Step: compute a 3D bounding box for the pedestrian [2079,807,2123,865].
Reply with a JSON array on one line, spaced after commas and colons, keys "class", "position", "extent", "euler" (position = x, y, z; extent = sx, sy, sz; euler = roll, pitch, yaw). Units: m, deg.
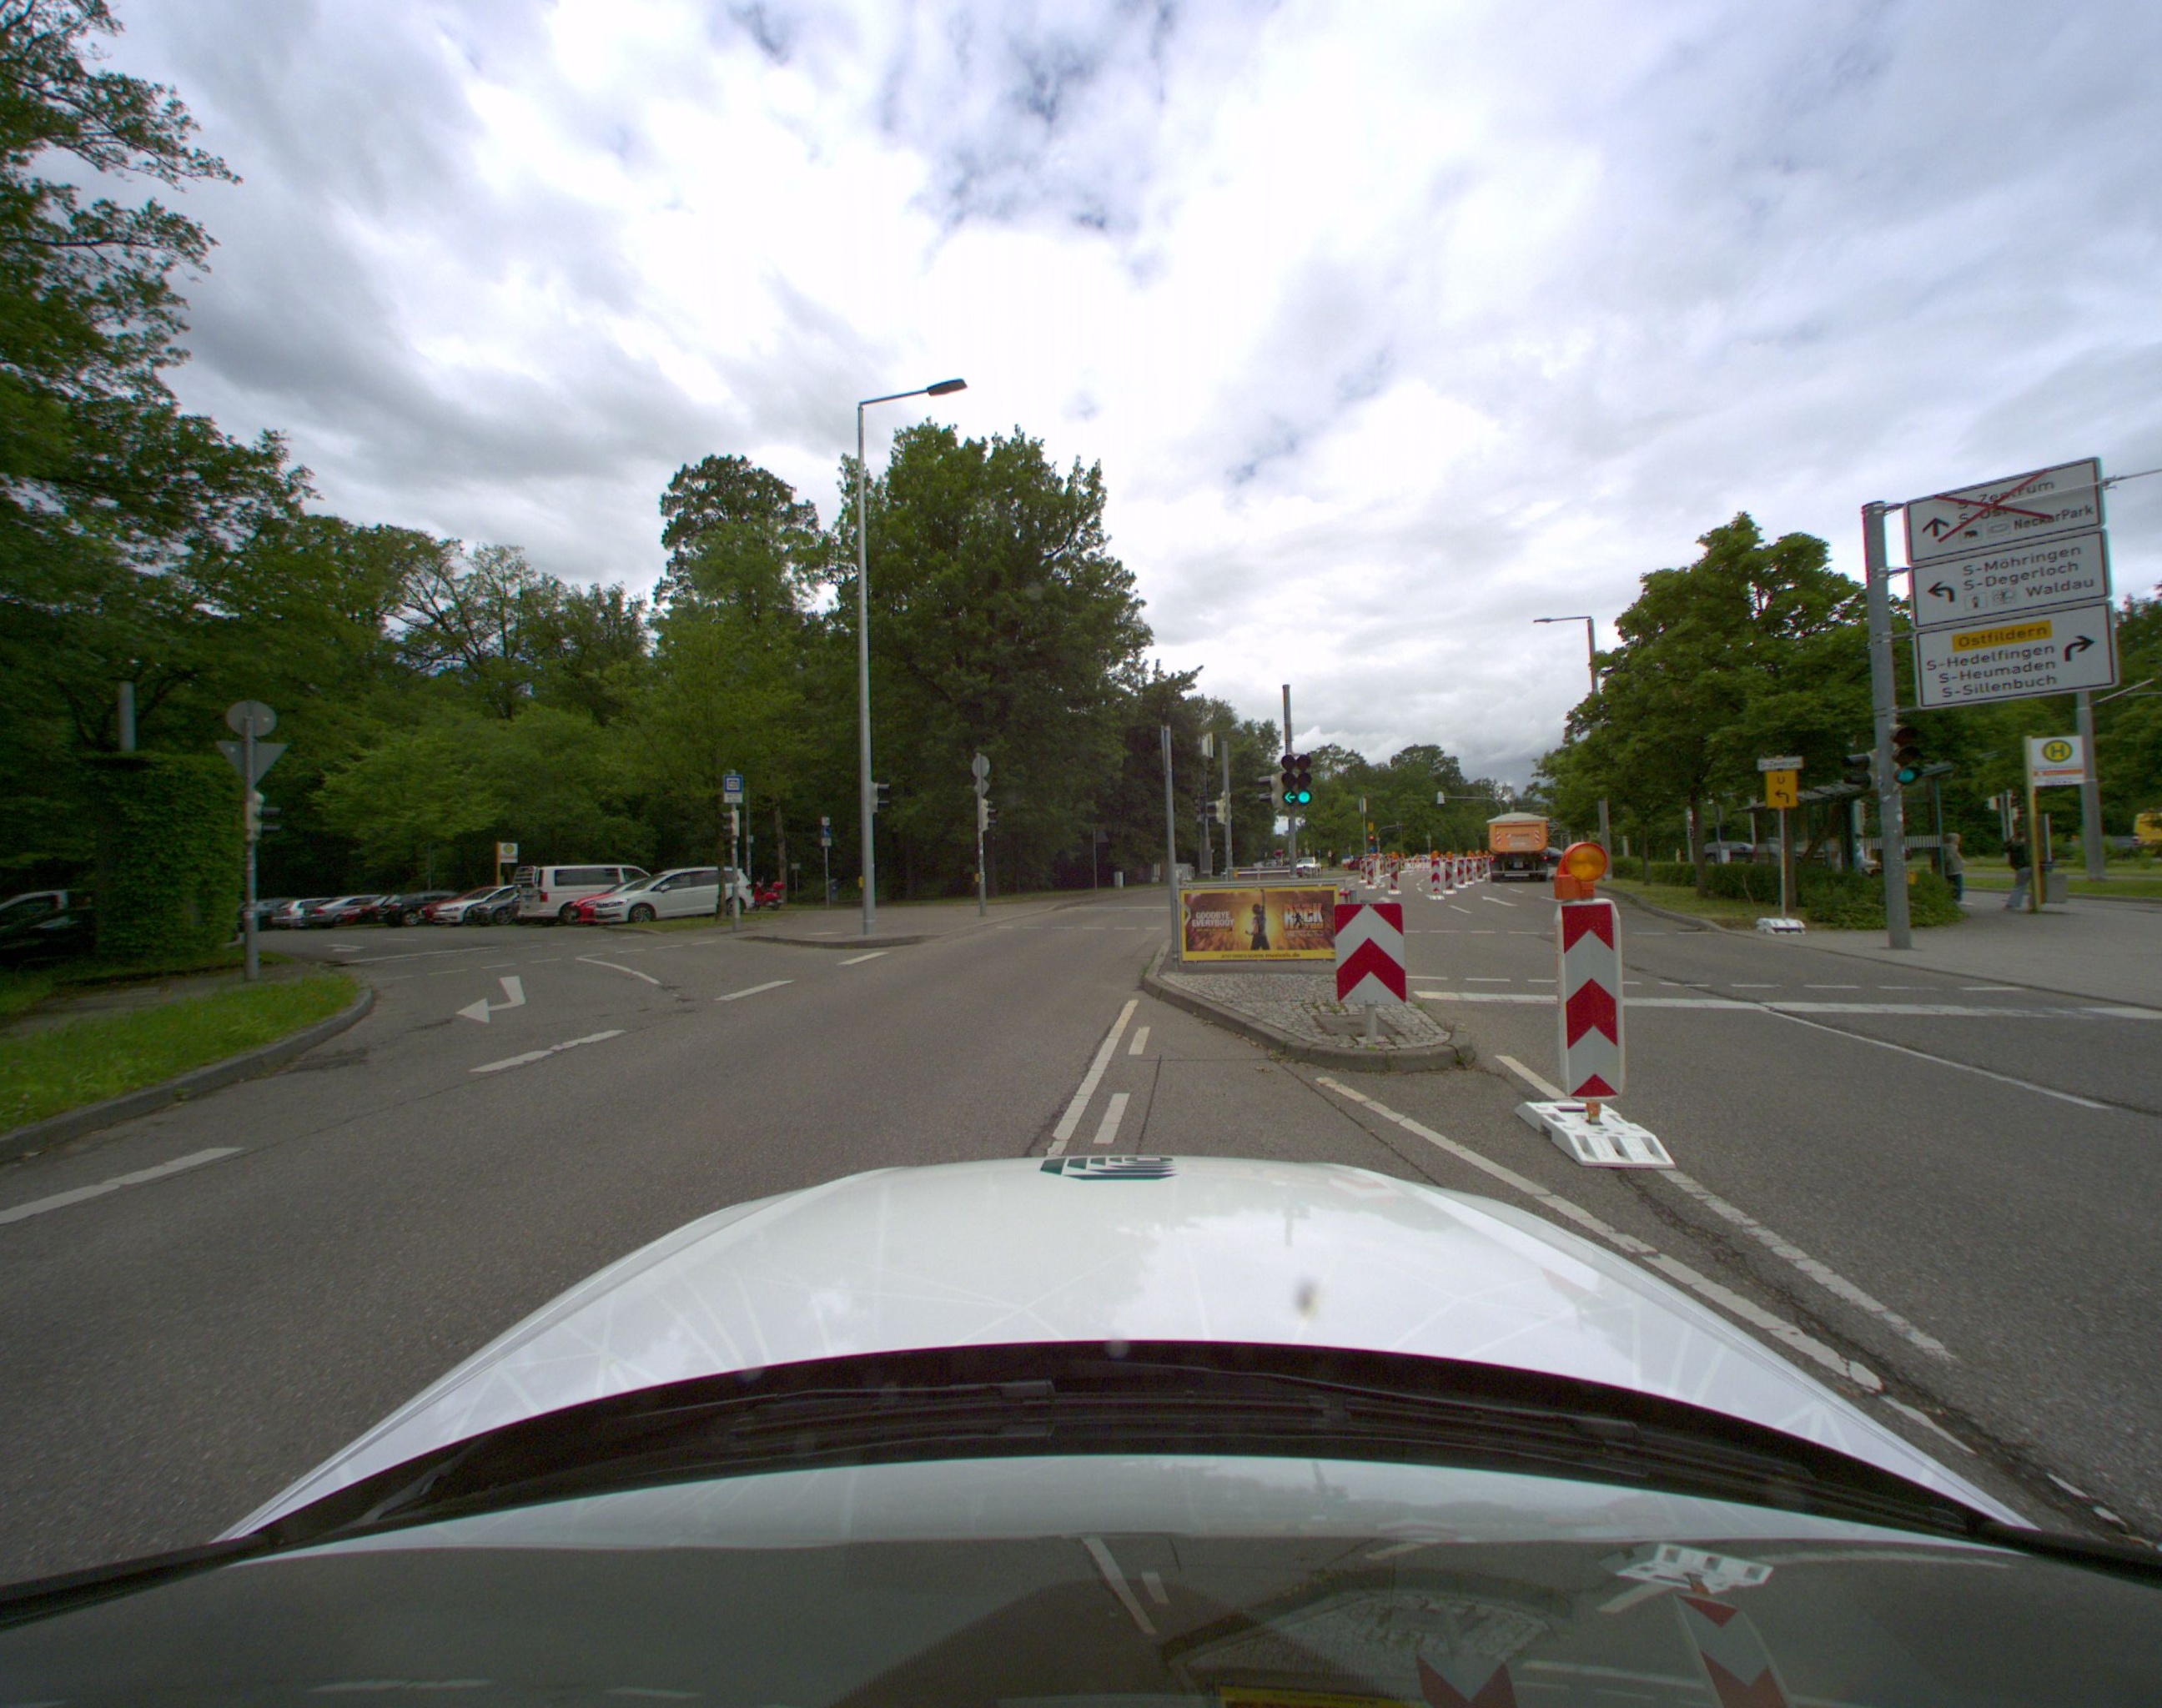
[{"class": "pedestrian", "position": [41.051, -0.716, 32.780], "extent": [0.614, 2.295, 0.860], "euler": [0, -1, -6]}]

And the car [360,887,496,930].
[{"class": "car", "position": [-27.528, 2.265, 34.438], "extent": [1.897, 1.483, 4.025], "euler": [-4, -1, 31]}]

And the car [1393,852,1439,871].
[{"class": "car", "position": [34.476, 0.828, 83.941], "extent": [2.008, 1.882, 3.958], "euler": [0, -1, -34]}]

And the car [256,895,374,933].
[{"class": "car", "position": [-38.035, 2.960, 40.553], "extent": [1.709, 1.546, 3.877], "euler": [-4, -1, 25]}]

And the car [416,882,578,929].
[{"class": "car", "position": [-22.883, 1.979, 32.098], "extent": [1.829, 1.476, 4.818], "euler": [-3, -1, 34]}]

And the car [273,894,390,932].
[{"class": "car", "position": [-36.172, 2.833, 39.391], "extent": [1.729, 1.511, 3.736], "euler": [-4, -1, 27]}]

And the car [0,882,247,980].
[{"class": "car", "position": [-23.717, 1.804, 19.345], "extent": [1.952, 1.915, 5.136], "euler": [-4, 0, 35]}]

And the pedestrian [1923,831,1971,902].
[{"class": "pedestrian", "position": [18.969, 0.275, 17.845], "extent": [0.519, 1.517, 0.480], "euler": [0, -1, 5]}]

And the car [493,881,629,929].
[{"class": "car", "position": [-18.898, 1.790, 29.724], "extent": [1.822, 1.555, 3.758], "euler": [-1, -1, 32]}]

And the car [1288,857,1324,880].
[{"class": "car", "position": [18.410, 1.172, 66.409], "extent": [1.975, 1.750, 4.605], "euler": [-1, -1, 27]}]

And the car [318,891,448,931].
[{"class": "car", "position": [-31.729, 2.582, 37.131], "extent": [1.916, 1.449, 4.024], "euler": [-4, -1, 27]}]

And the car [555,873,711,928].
[{"class": "car", "position": [-14.572, 1.475, 26.626], "extent": [1.922, 1.555, 4.035], "euler": [-3, -2, 40]}]

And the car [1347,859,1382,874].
[{"class": "car", "position": [35.962, 1.593, 103.516], "extent": [2.003, 1.882, 3.968], "euler": [0, -1, -24]}]

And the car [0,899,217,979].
[{"class": "car", "position": [-21.489, 1.794, 17.336], "extent": [1.700, 1.379, 4.026], "euler": [-3, -1, 34]}]

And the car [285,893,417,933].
[{"class": "car", "position": [-34.142, 2.735, 38.202], "extent": [1.841, 1.461, 4.166], "euler": [-4, -1, 28]}]

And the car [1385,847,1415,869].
[{"class": "car", "position": [26.585, 0.378, 67.742], "extent": [1.779, 1.738, 3.725], "euler": [-1, -1, 29]}]

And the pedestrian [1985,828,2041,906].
[{"class": "pedestrian", "position": [18.625, 0.259, 16.276], "extent": [0.519, 1.517, 0.480], "euler": [0, -1, 5]}]

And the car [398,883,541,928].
[{"class": "car", "position": [-25.096, 2.093, 33.581], "extent": [1.894, 1.480, 4.269], "euler": [-4, -1, 31]}]

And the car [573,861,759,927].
[{"class": "car", "position": [-12.669, 1.202, 25.095], "extent": [2.137, 1.693, 4.564], "euler": [-4, -1, 39]}]

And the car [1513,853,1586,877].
[{"class": "car", "position": [40.331, 0.941, 70.271], "extent": [2.002, 2.014, 5.393], "euler": [0, -1, -23]}]

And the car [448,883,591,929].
[{"class": "car", "position": [-21.034, 1.937, 30.658], "extent": [1.853, 1.483, 4.025], "euler": [-5, -3, 32]}]

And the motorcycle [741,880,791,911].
[{"class": "motorcycle", "position": [-12.444, 1.645, 32.135], "extent": [1.986, 1.160, 0.681], "euler": [-2, -1, 27]}]

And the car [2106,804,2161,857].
[{"class": "car", "position": [53.129, -1.179, 38.117], "extent": [2.002, 2.494, 6.100], "euler": [0, -1, -23]}]

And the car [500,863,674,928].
[{"class": "car", "position": [-16.880, 1.367, 28.065], "extent": [2.056, 2.021, 4.693], "euler": [-2, -2, 34]}]

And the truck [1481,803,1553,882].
[{"class": "truck", "position": [22.244, -0.564, 41.511], "extent": [2.832, 3.514, 8.299], "euler": [-3, 0, 29]}]
